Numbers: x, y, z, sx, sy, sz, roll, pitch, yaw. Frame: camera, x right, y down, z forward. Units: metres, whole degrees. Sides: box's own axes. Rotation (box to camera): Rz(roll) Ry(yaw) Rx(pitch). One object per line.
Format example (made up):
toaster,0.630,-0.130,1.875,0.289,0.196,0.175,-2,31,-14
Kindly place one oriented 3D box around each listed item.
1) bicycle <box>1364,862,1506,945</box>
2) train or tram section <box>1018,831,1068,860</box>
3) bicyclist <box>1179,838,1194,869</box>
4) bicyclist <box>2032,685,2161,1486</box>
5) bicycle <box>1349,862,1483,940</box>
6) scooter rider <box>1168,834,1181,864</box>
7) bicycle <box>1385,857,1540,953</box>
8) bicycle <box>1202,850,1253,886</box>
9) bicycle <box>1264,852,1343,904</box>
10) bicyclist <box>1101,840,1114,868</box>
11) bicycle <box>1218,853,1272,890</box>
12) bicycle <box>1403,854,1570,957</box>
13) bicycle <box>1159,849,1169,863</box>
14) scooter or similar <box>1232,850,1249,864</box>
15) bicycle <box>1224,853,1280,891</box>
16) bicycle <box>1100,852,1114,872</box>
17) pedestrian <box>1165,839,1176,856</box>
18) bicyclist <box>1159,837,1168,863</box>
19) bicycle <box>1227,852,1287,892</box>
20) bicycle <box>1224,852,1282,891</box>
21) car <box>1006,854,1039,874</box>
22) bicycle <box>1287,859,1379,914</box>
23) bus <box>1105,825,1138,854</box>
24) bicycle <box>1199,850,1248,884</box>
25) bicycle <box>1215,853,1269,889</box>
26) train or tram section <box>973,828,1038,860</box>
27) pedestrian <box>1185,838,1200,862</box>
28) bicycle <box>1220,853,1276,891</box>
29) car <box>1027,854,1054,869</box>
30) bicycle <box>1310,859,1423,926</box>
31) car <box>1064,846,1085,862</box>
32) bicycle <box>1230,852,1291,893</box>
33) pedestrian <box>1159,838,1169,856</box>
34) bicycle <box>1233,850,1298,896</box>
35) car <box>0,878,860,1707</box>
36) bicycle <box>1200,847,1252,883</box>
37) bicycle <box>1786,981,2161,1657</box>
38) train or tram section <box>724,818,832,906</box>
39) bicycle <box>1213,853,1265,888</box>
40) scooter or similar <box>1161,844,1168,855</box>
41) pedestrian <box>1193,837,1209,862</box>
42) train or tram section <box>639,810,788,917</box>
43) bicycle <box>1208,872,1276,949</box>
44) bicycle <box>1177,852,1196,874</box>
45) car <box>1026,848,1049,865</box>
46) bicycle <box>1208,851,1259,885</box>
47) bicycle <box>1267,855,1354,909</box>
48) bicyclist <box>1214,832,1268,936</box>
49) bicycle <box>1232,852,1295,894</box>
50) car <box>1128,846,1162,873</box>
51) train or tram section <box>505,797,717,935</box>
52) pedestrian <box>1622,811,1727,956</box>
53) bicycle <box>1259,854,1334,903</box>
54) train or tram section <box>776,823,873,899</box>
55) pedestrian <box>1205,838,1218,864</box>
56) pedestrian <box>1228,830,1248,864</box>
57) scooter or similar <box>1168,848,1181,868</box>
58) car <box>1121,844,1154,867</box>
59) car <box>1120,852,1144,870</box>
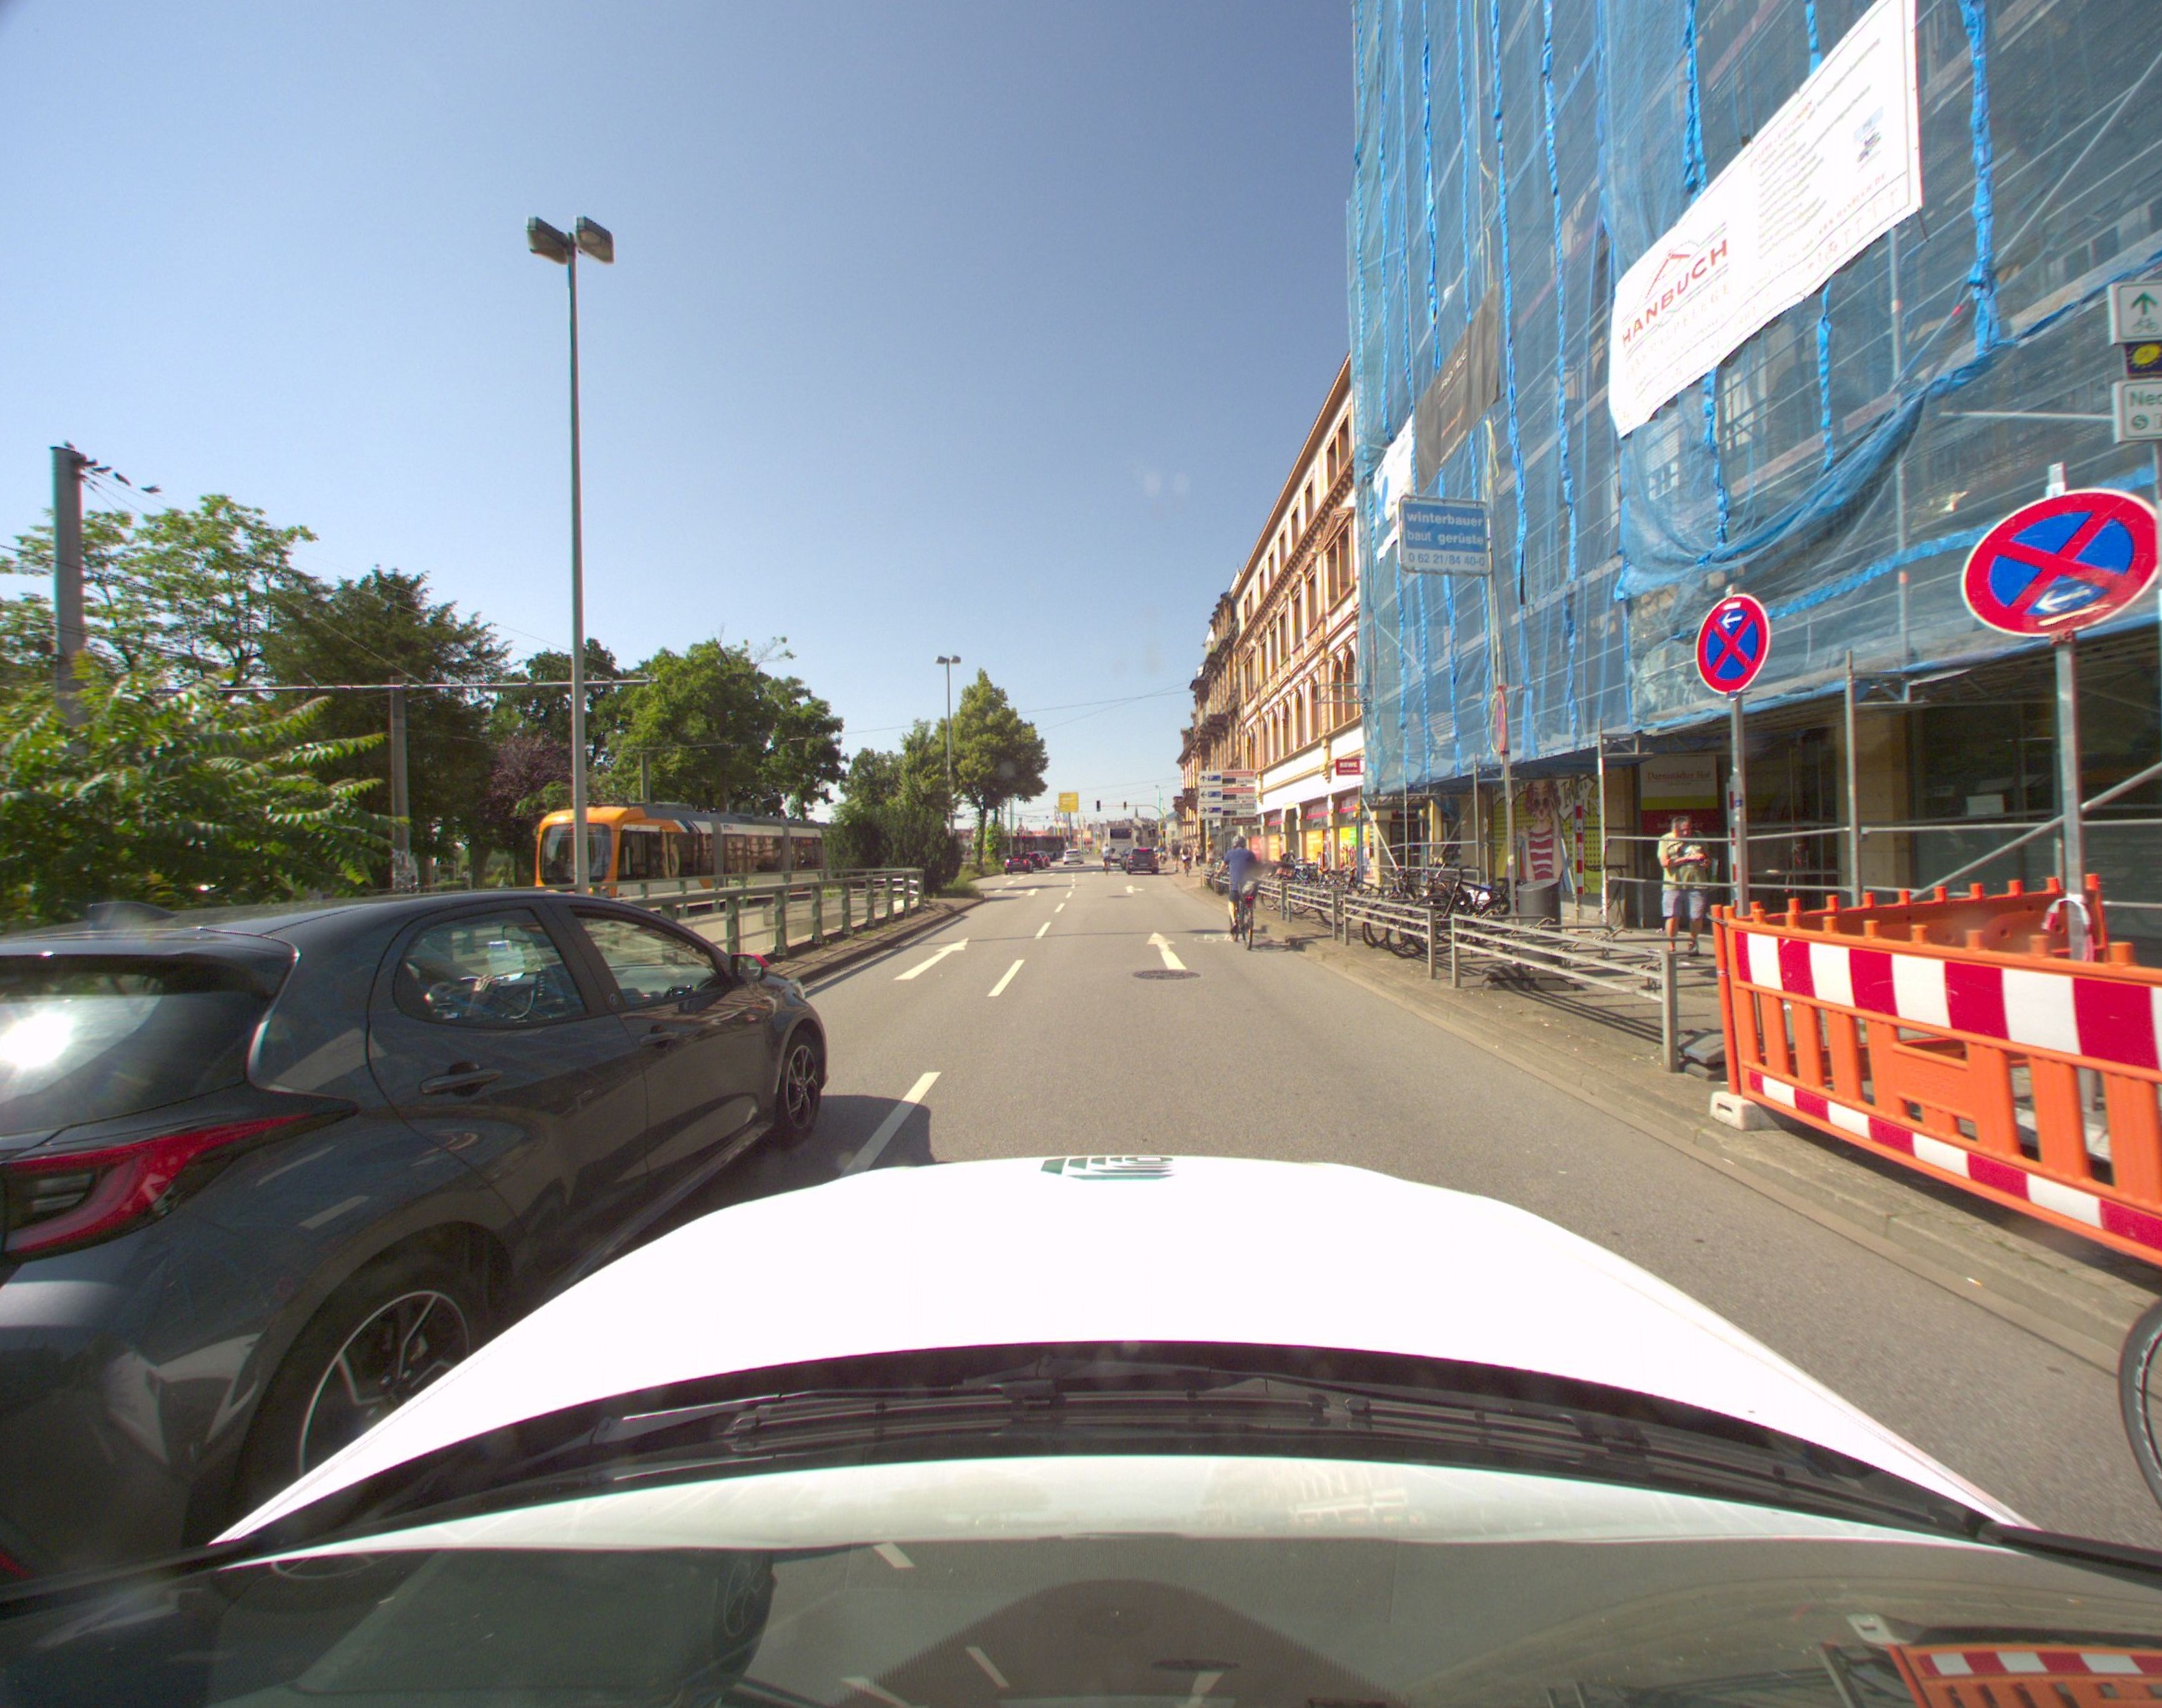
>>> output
bicycle,4.833,0.670,11.180,1.687,1.097,0.609,0,0,2
train or tram section,-4.734,-1.076,104.796,2.796,3.581,8.273,0,0,26
bicyclist,5.400,-0.008,41.701,0.686,1.577,1.050,0,0,1
bicyclist,2.316,0.423,1.125,0.686,1.463,1.143,0,0,0
bicycle,4.843,0.668,11.842,1.687,1.097,0.609,0,0,2
scooter rider,5.525,-0.309,48.111,0.685,1.729,0.779,0,0,4
bicycle,4.849,0.640,10.415,1.687,1.178,0.609,0,0,2
bicycle,5.162,0.482,28.764,1.687,1.178,0.609,-2,0,2
bicycle,5.189,0.560,19.083,1.687,1.178,0.609,0,0,2
bicyclist,1.476,-0.009,46.004,0.686,1.577,1.049,0,0,0
bicycle,5.346,0.562,26.576,1.687,1.178,0.459,0,0,2
bicycle,4.815,0.598,9.732,1.687,1.178,0.609,0,0,2
bicycle,6.317,0.144,62.340,0.730,1.093,1.900,0,0,5
scooter or similar,8.035,0.136,41.062,0.689,0.650,0.565,-5,-1,1
bicycle,5.340,0.550,25.468,1.687,1.178,0.457,0,0,2
bicycle,1.474,0.433,46.045,0.731,1.093,1.898,0,0,0
pedestrian,8.881,-0.636,80.831,0.859,1.640,0.875,-3,0,0
bicyclist,6.317,-0.276,62.217,0.685,1.962,0.779,0,0,4
bicycle,5.265,0.530,24.404,1.687,1.178,0.452,0,0,2
bicycle,5.262,0.539,24.913,1.687,1.178,0.463,0,0,2
car,-4.041,0.654,56.658,1.808,1.332,4.003,0,0,3
bicycle,5.124,0.654,16.635,1.687,1.087,0.609,0,0,2
bus,4.056,-1.366,83.294,2.959,2.776,8.641,0,0,0
bicycle,5.236,0.459,30.049,1.687,1.178,0.609,-2,0,2
bicycle,5.351,0.557,27.128,1.687,1.178,0.460,0,0,2
train or tram section,-8.759,-1.123,96.539,2.796,3.581,10.090,0,0,26
pedestrian,7.833,-0.307,57.359,0.859,1.640,0.875,-3,0,0
bicycle,5.322,0.574,26.010,1.687,1.178,0.514,0,0,2
car,-3.586,0.675,73.068,2.029,1.332,4.003,0,0,3
bicycle,4.873,0.646,13.961,1.732,1.109,0.609,0,0,2
car,-0.614,-0.015,79.267,1.851,1.507,4.003,0,0,3
bicycle,5.256,0.543,23.891,1.687,1.178,0.491,0,0,2
pedestrian,8.084,-0.674,78.969,0.859,1.640,0.875,0,0,0
bicycle,5.137,0.519,22.727,1.687,1.241,0.609,0,0,2
car,-2.381,0.924,3.299,1.771,1.475,4.000,-3,0,1
bicycle,5.229,0.391,29.417,1.687,1.178,0.609,-4,0,2
bicycle,2.312,0.901,1.197,0.731,1.093,2.130,0,0,0
train or tram section,-13.251,0.341,36.071,2.604,3.581,5.359,0,0,1
bicycle,5.356,0.561,27.695,1.687,1.178,0.470,0,0,1
scooter or similar,8.021,-0.414,78.358,0.598,1.047,0.799,0,0,0
pedestrian,8.188,-0.298,55.667,0.859,1.640,0.875,-3,0,0
train or tram section,-13.426,0.329,30.360,2.604,3.581,6.105,0,0,2
bicycle,2.556,0.862,13.094,0.731,1.093,1.911,0,0,0
bicycle,5.395,0.432,41.682,0.731,1.093,1.898,0,0,1
car,-3.509,0.199,65.788,1.446,1.300,4.003,0,0,3
bicycle,5.260,0.487,28.164,1.687,1.178,0.470,0,0,1
bicycle,5.080,0.616,18.113,1.764,1.178,0.609,0,0,2
bicyclist,2.564,0.468,13.113,0.686,1.616,0.918,0,0,1
bicycle,5.213,0.549,23.340,1.687,1.178,0.498,0,0,2
car,3.712,0.285,47.548,1.866,1.492,4.003,0,1,3
train or tram section,-13.604,0.316,24.279,2.604,3.581,6.105,0,0,2
pedestrian,6.847,0.332,9.424,0.642,1.601,0.764,0,0,-5
bicycle,5.220,0.586,19.779,1.687,1.178,0.609,0,0,2
train or tram section,-13.079,0.354,42.183,2.604,3.581,6.900,0,0,2
pedestrian,8.255,-0.203,51.636,0.652,1.620,0.815,-2,1,0
pedestrian,8.023,-0.347,41.703,0.753,1.656,0.837,-5,-1,1
scooter or similar,5.503,0.235,48.070,0.685,1.167,1.465,0,0,4
car,3.878,0.095,56.377,1.988,1.492,3.998,0,0,-1
car,4.334,0.558,69.321,1.985,1.492,4.003,0,0,3
